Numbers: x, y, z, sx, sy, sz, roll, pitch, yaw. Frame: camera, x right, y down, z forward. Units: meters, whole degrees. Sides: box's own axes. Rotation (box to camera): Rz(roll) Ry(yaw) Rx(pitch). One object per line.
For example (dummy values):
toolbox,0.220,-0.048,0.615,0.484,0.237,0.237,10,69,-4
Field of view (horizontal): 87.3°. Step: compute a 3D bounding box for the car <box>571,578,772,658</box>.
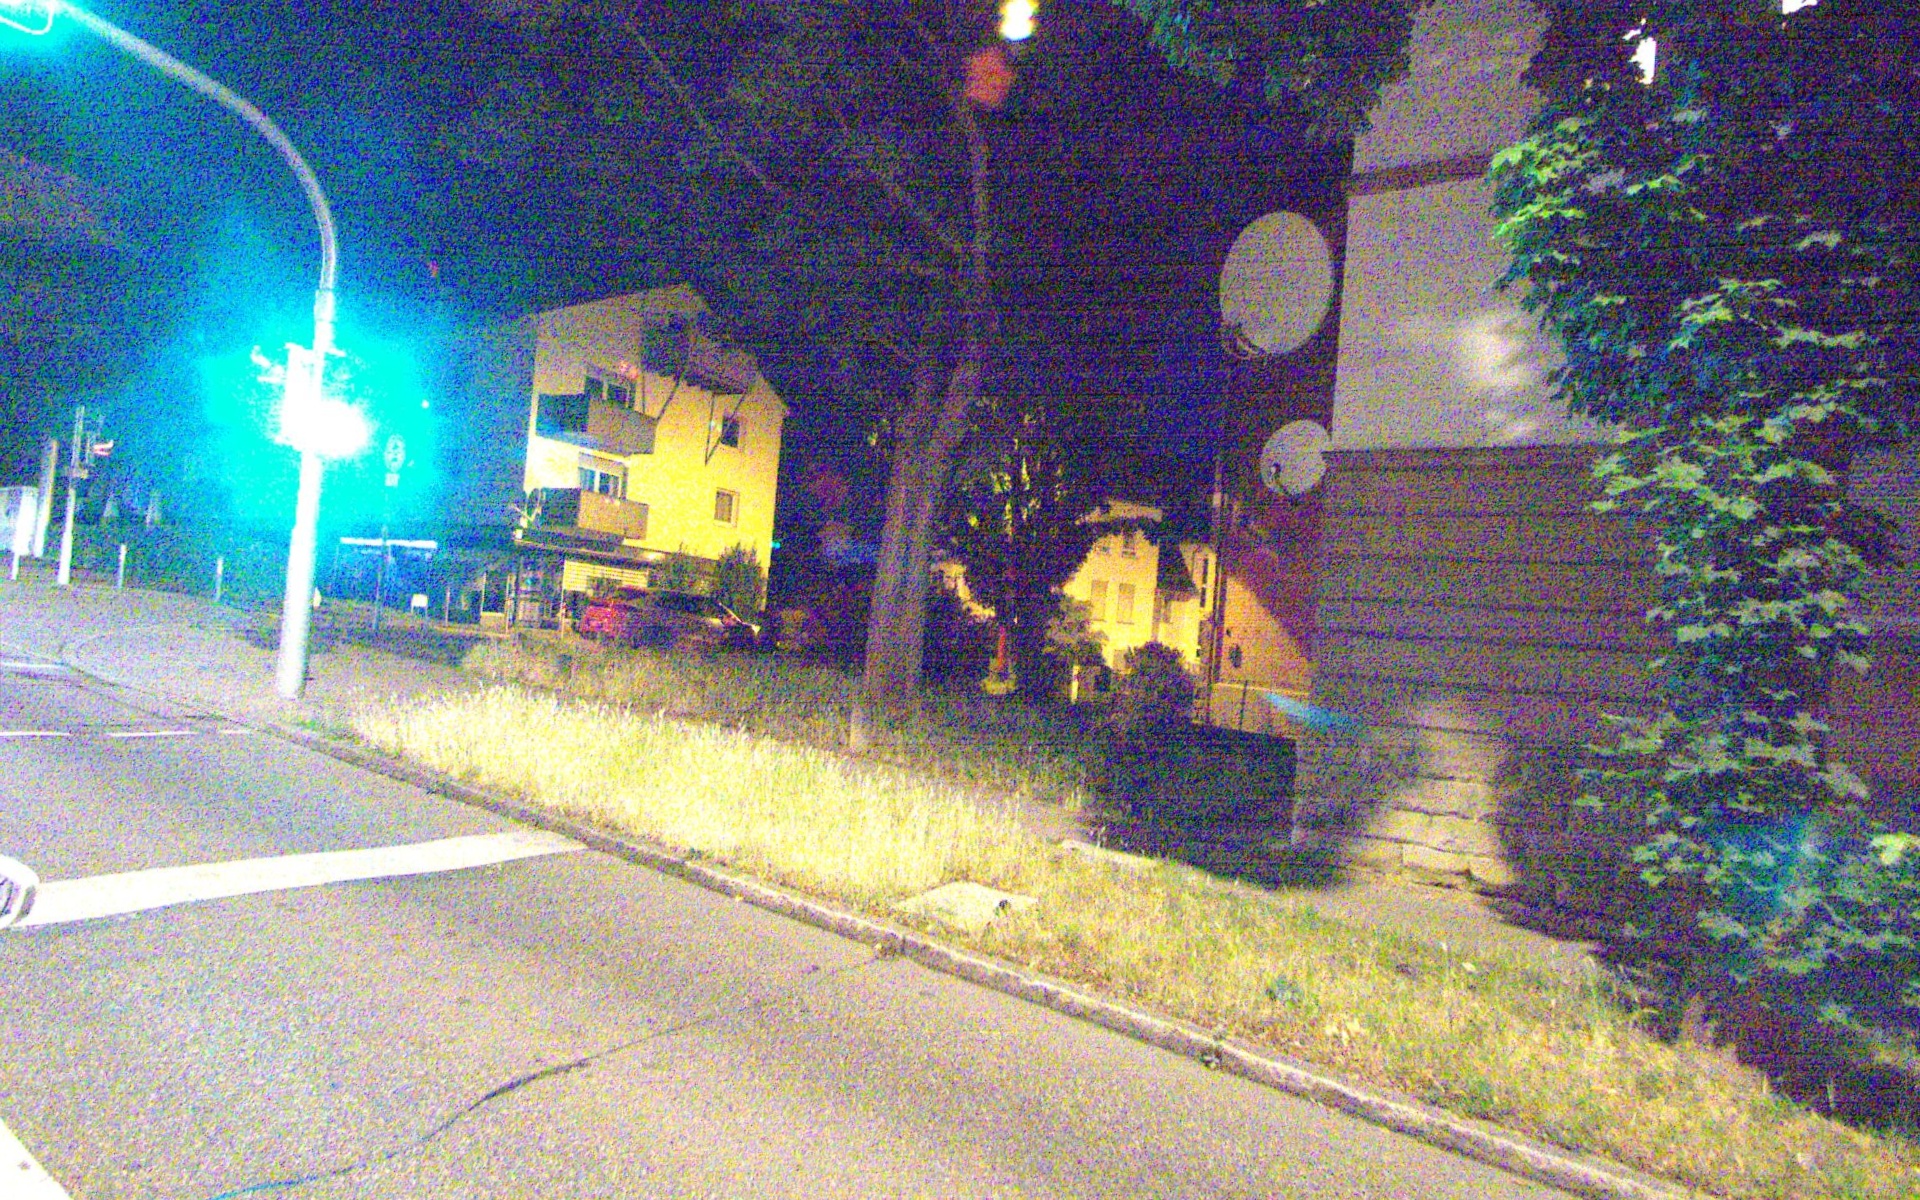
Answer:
car,-6.540,0.456,23.169,1.740,1.295,4.131,6,-3,39
